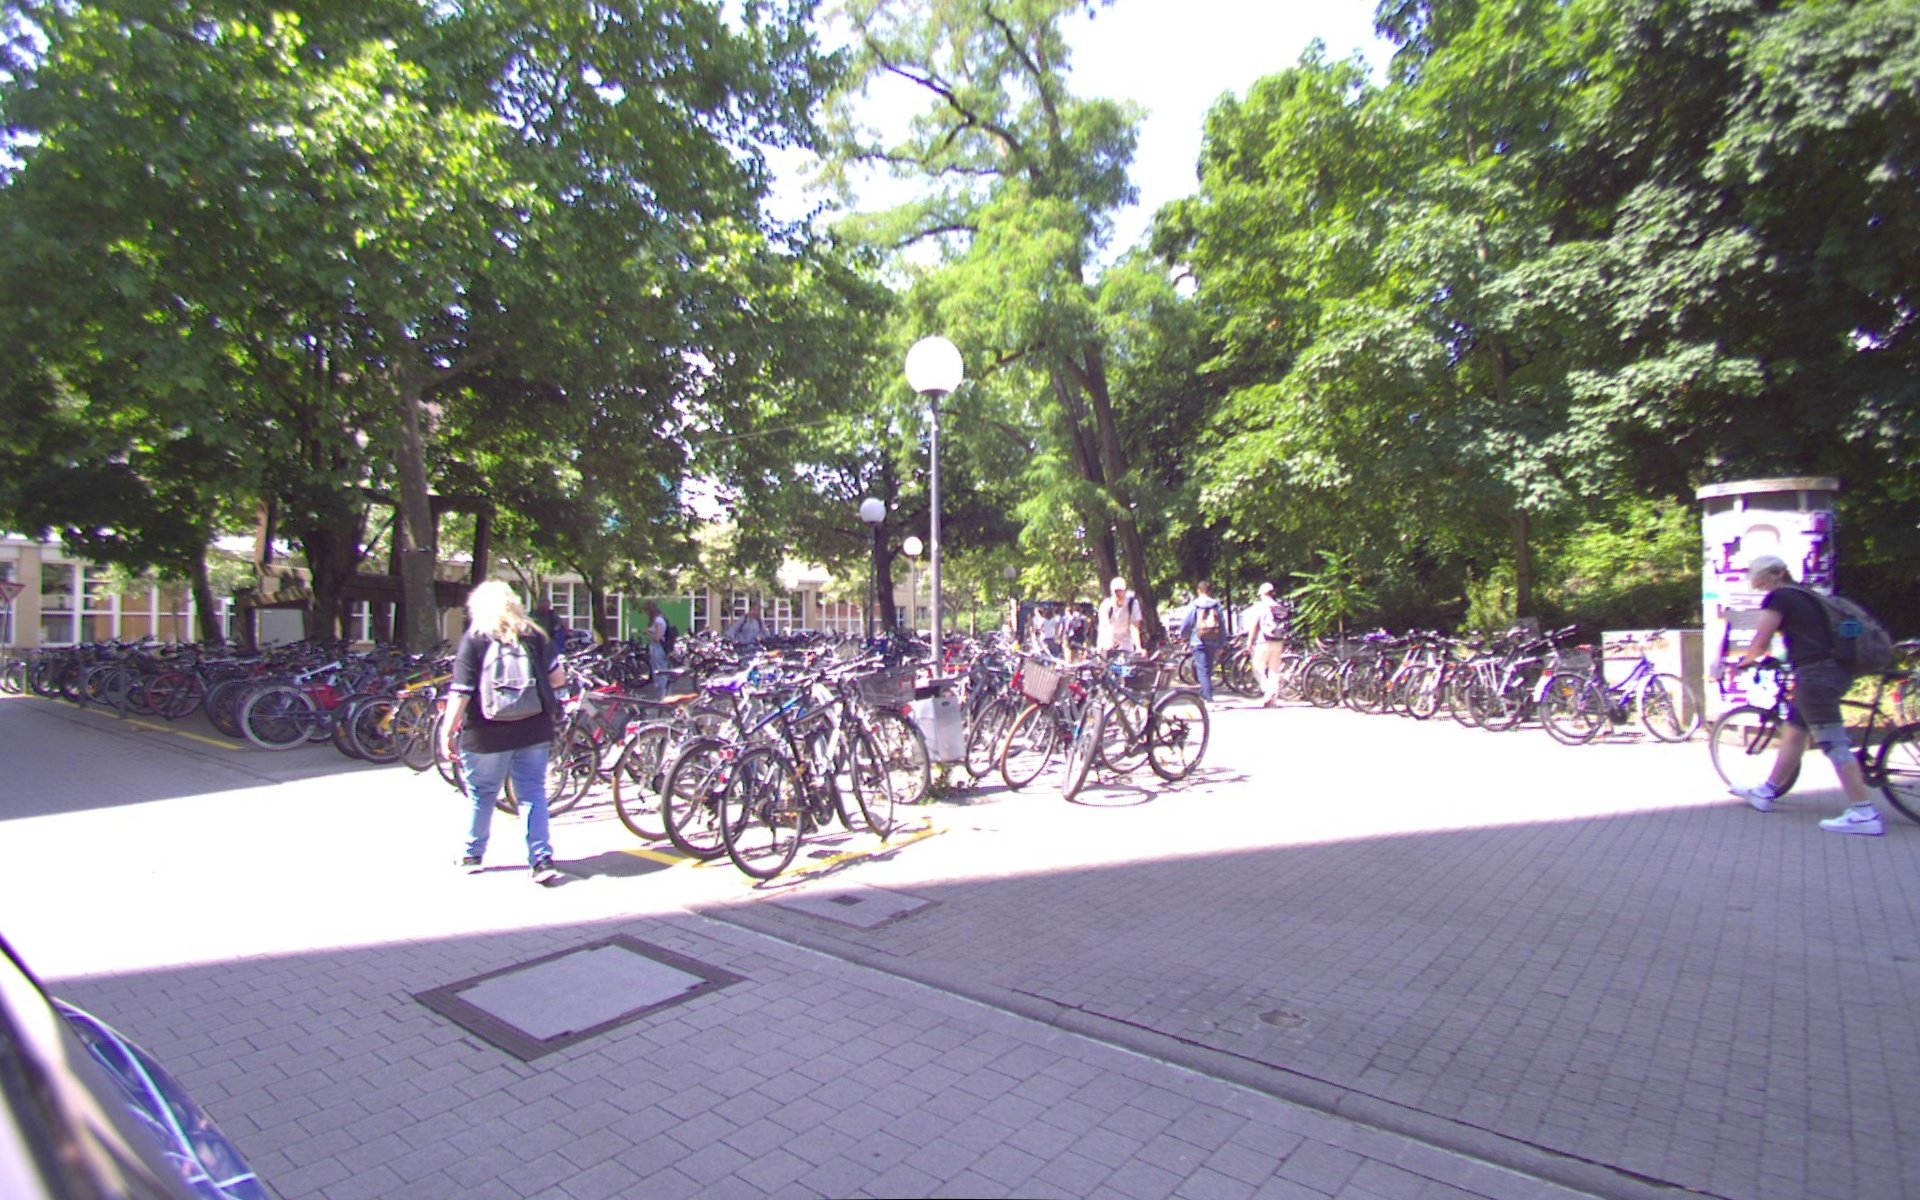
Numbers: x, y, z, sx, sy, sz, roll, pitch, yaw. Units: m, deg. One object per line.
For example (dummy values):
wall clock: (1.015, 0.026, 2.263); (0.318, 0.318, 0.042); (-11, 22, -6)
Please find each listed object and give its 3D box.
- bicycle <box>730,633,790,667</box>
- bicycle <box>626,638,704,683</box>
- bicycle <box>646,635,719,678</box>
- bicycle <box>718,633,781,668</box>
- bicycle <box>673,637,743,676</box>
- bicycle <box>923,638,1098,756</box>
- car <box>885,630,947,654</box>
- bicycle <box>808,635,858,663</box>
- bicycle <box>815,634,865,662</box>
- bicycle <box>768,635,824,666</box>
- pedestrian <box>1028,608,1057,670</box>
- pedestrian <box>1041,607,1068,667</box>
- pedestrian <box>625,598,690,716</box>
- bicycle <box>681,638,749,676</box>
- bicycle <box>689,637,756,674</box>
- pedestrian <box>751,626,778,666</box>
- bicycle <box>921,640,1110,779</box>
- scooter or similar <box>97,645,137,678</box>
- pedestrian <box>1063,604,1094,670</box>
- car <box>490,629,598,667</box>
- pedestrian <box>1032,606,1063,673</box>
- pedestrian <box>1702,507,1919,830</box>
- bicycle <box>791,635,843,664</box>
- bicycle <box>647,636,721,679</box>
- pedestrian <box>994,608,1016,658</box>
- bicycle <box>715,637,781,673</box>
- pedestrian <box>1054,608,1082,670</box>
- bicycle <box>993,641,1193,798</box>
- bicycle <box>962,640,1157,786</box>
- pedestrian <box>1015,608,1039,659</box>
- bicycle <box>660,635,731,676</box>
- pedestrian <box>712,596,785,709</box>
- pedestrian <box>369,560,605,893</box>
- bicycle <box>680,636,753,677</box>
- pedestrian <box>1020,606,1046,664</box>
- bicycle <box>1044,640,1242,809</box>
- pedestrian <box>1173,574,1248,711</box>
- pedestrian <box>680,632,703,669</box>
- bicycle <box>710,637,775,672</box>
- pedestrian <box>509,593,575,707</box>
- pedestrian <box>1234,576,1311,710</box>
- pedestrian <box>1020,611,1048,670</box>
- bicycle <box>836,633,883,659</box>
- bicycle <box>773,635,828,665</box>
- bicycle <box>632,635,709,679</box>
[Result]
bicycle: (-6.890, 1.725, 34.866); (2.010, 1.116, 0.501); (-1, -1, 13)
bicycle: (-7.564, 1.560, 25.987); (1.884, 1.116, 0.502); (-1, -1, 7)
bicycle: (-7.619, 1.550, 27.782); (1.885, 1.116, 0.501); (-1, -1, 10)
bicycle: (-7.020, 1.683, 33.829); (2.006, 1.116, 0.502); (-1, -1, 7)
bicycle: (-7.483, 1.685, 30.057); (1.983, 1.116, 0.501); (-1, -1, 10)
bicycle: (0.496, 0.953, 10.135); (1.672, 1.092, 0.475); (-1, -1, -9)
car: (-2.960, 2.827, 68.904); (1.835, 1.553, 4.481); (-3, -3, 37)
bicycle: (-5.197, 2.024, 41.435); (2.010, 1.116, 0.501); (-1, -1, 13)
bicycle: (-4.968, 2.005, 42.051); (2.010, 1.116, 0.501); (-1, -1, 13)
bicycle: (-6.084, 1.877, 37.622); (2.010, 1.116, 0.501); (-1, -1, 13)
pedestrian: (2.326, 1.094, 28.426); (0.760, 1.692, 0.905); (-1, -1, 6)
pedestrian: (2.896, 1.117, 30.953); (0.760, 1.788, 0.905); (-1, -1, 6)
pedestrian: (-4.568, 0.841, 15.319); (0.892, 1.716, 0.772); (-1, -1, -15)
bicycle: (-7.469, 1.722, 30.820); (1.983, 1.116, 0.501); (-1, -1, 10)
bicycle: (-7.364, 1.711, 31.406); (1.983, 1.116, 0.501); (-1, -1, 10)
pedestrian: (-8.357, 1.954, 43.281); (0.726, 1.697, 0.863); (-3, -3, 36)
bicycle: (0.510, 0.928, 8.968); (1.670, 1.092, 0.475); (0, -1, -31)
scooter or similar: (-31.851, 2.314, 38.239); (0.289, 1.235, 1.142); (-3, -3, 43)
pedestrian: (3.085, 0.964, 26.456); (0.760, 1.692, 0.905); (-1, -1, 6)
car: (-19.852, 2.244, 48.408); (1.836, 1.630, 4.481); (0, -1, 38)
pedestrian: (2.293, 1.026, 26.562); (0.760, 1.692, 0.905); (-1, -1, 6)
pedestrian: (5.457, 0.397, 6.386); (0.603, 1.849, 1.053); (0, -1, -19)
bicycle: (-5.653, 1.967, 40.019); (2.010, 1.116, 0.501); (-1, -1, 13)
bicycle: (-7.422, 1.543, 27.198); (1.885, 1.116, 0.501); (-1, -1, 10)
pedestrian: (1.602, 1.175, 36.115); (0.500, 1.784, 0.664); (-2, -1, 29)
bicycle: (-6.800, 1.755, 32.488); (2.006, 1.116, 0.502); (-1, -1, 7)
pedestrian: (3.157, 1.131, 29.680); (0.760, 1.788, 0.905); (-1, -1, 6)
bicycle: (1.090, 0.900, 8.073); (1.695, 1.092, 0.475); (0, -1, -36)
bicycle: (0.866, 0.912, 8.583); (1.670, 1.092, 0.475); (0, -1, -31)
pedestrian: (2.361, 1.166, 35.651); (0.607, 1.788, 0.652); (-2, -1, 32)
bicycle: (-7.412, 1.550, 28.394); (1.885, 1.116, 0.501); (-1, -1, 10)
pedestrian: (-3.316, 0.819, 15.923); (0.897, 1.716, 0.768); (-1, -1, 9)
pedestrian: (-2.572, 0.653, 5.583); (0.896, 1.692, 0.768); (-1, -1, 7)
bicycle: (-6.946, 1.612, 28.858); (1.983, 1.116, 0.501); (-1, -1, 10)
pedestrian: (2.316, 1.096, 31.970); (0.760, 1.788, 0.905); (-1, -1, 6)
bicycle: (1.423, 0.888, 7.705); (1.672, 1.118, 0.475); (0, -1, -38)
pedestrian: (3.472, 0.582, 14.090); (0.824, 1.829, 0.882); (-1, -1, 3)
pedestrian: (-11.295, 2.132, 42.589); (0.566, 1.531, 0.836); (-1, -1, 17)
bicycle: (-7.106, 1.778, 33.061); (2.006, 1.116, 0.502); (-1, -1, 7)
pedestrian: (-6.856, 0.805, 16.616); (0.701, 1.820, 0.768); (-1, -1, 7)
pedestrian: (4.417, 0.593, 14.350); (0.759, 1.817, 0.983); (-1, -1, 2)
pedestrian: (2.186, 1.193, 29.828); (0.760, 1.692, 0.905); (-1, -1, 6)
bicycle: (-4.330, 1.980, 43.698); (2.016, 1.116, 0.499); (-1, -1, 21)
bicycle: (-6.064, 1.894, 38.460); (2.010, 1.116, 0.501); (-1, -1, 13)
bicycle: (-7.582, 1.491, 26.535); (1.884, 1.116, 0.502); (-1, -1, 7)
